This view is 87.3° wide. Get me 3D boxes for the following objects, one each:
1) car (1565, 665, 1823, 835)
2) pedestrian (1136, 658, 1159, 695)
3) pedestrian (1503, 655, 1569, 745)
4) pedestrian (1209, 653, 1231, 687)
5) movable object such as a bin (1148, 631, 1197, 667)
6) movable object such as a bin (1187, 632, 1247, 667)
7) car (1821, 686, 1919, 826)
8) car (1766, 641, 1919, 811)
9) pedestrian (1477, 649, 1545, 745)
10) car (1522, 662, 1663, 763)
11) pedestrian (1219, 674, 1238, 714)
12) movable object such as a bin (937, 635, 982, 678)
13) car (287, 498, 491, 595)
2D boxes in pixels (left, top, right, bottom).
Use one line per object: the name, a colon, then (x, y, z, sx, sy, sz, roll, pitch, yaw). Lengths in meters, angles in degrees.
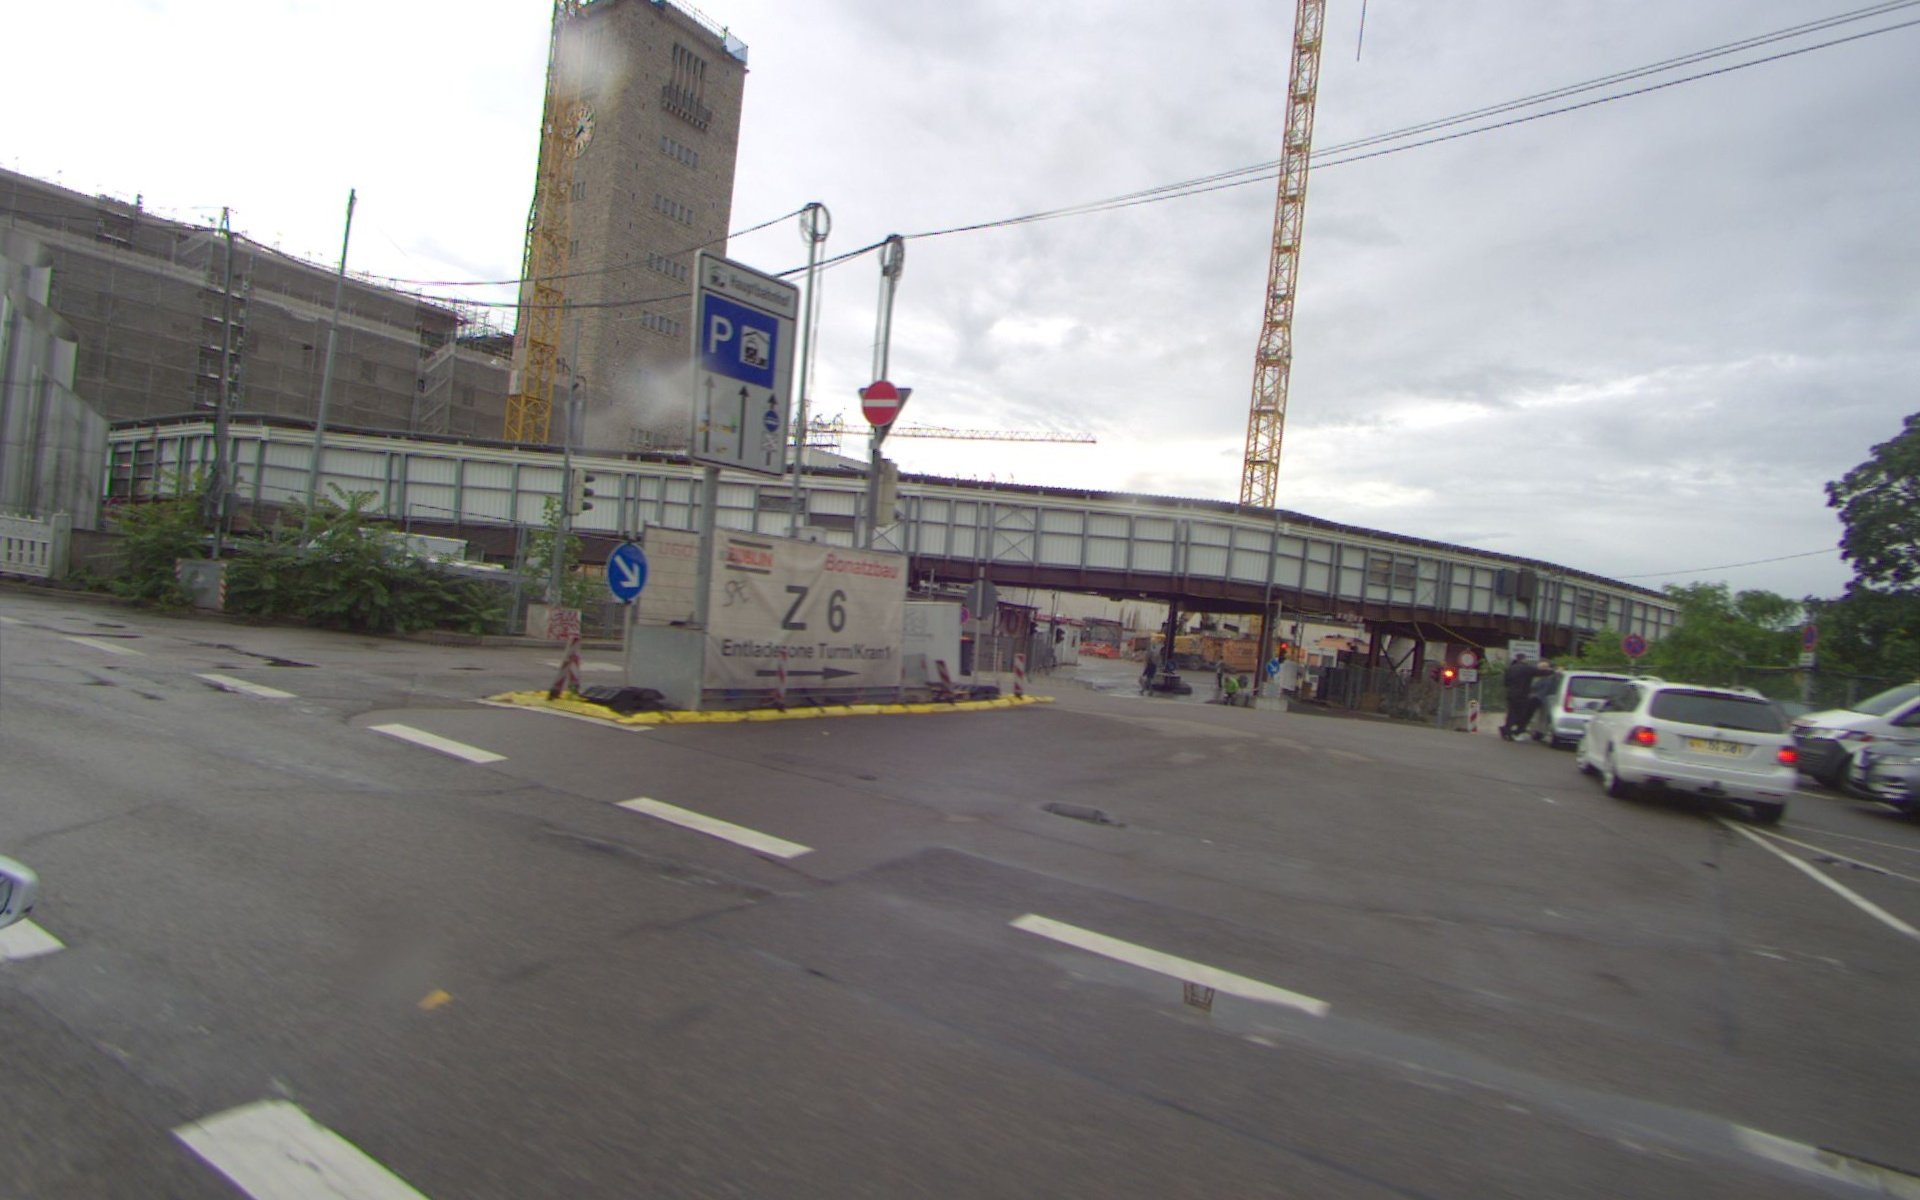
car: (9.115, 1.729, 12.895, 1.783, 1.471, 4.209, 8, 1, 26)
pedestrian: (9.215, 3.768, 49.477, 0.831, 1.707, 0.751, 4, 1, -3)
pedestrian: (11.364, 1.962, 19.861, 0.701, 1.657, 0.811, 3, 2, -36)
pedestrian: (14.775, 3.971, 57.177, 1.012, 1.790, 0.751, 4, 1, 22)
movable object such as a bin: (15.939, 3.631, 75.355, 3.224, 2.374, 3.999, 4, 1, 15)
movable object such as a bin: (20.214, 3.900, 79.156, 3.746, 2.374, 2.933, 5, 1, 33)
car: (14.089, 2.265, 13.056, 3.864, 1.641, 1.942, 7, 2, 24)
car: (16.010, 2.126, 15.118, 5.504, 2.344, 2.048, 7, 2, 24)
pedestrian: (10.713, 1.866, 19.568, 0.701, 1.757, 0.816, 3, 2, -36)
car: (11.957, 2.060, 19.232, 1.597, 1.499, 3.351, 4, 0, 22)
pedestrian: (9.782, 3.412, 36.640, 0.547, 1.356, 0.617, 4, 1, 19)
movable object such as a bin: (-0.022, 1.551, 27.912, 0.719, 1.116, 0.989, 5, 1, 39)
car: (-17.520, -1.585, 31.162, 4.800, 2.158, 2.349, 8, 0, -12)
